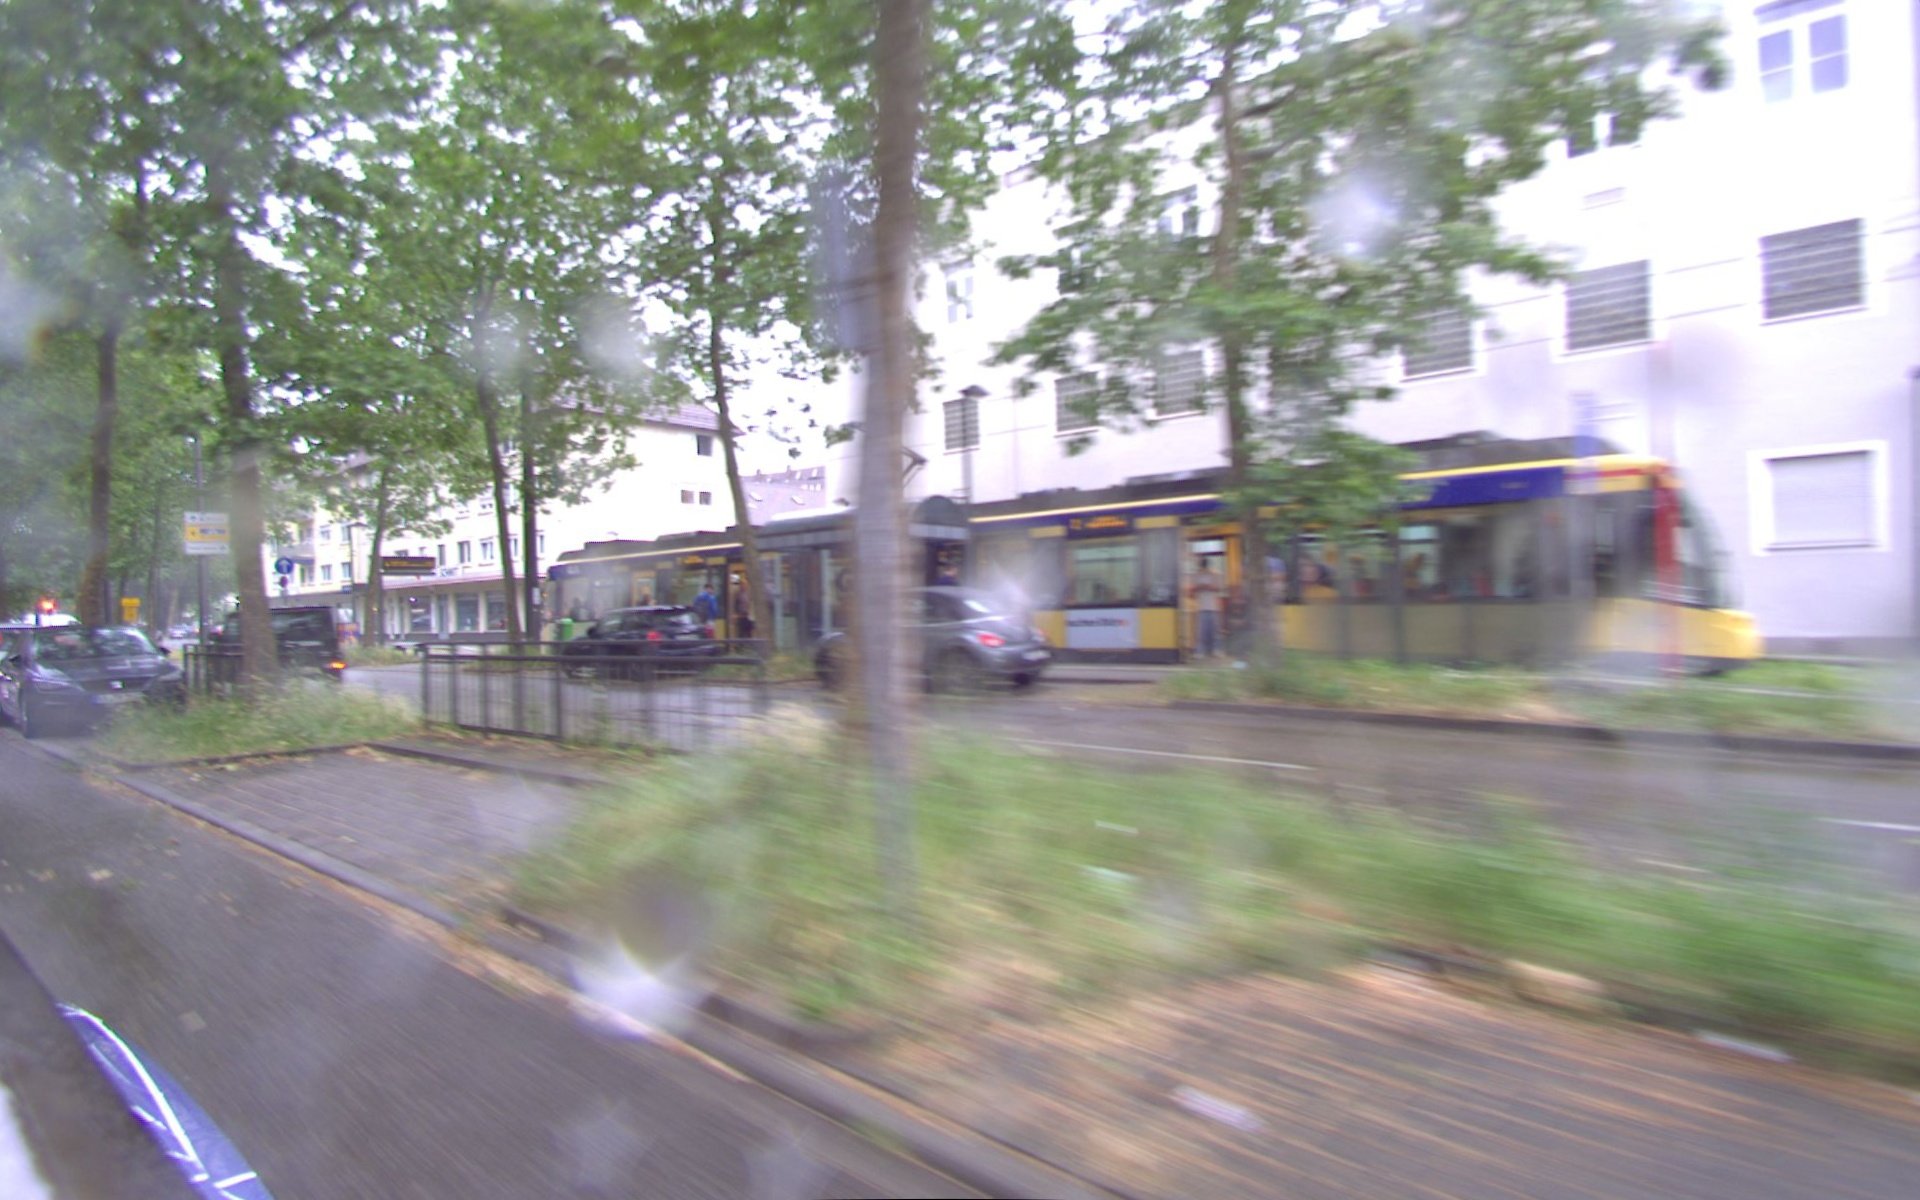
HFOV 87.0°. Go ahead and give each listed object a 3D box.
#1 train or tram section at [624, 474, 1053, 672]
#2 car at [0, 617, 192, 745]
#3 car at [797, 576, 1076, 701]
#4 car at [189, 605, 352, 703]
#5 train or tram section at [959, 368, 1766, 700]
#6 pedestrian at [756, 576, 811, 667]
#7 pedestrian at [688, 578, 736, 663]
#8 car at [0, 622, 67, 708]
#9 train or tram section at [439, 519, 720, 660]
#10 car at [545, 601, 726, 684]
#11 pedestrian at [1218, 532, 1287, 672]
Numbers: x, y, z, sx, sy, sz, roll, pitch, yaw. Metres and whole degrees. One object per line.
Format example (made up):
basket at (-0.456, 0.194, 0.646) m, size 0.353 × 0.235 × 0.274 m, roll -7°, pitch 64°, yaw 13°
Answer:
train or tram section at (-3.402, -0.424, 23.660) m, size 11.545 × 3.669 × 2.870 m, roll -2°, pitch 1°, yaw 41°
car at (-12.403, 1.053, 14.249) m, size 4.003 × 1.493 × 1.710 m, roll -2°, pitch 0°, yaw 41°
car at (-0.436, 0.545, 15.042) m, size 3.971 × 1.520 × 1.656 m, roll -2°, pitch 3°, yaw 40°
car at (-13.368, 1.012, 19.550) m, size 3.646 × 1.675 × 1.655 m, roll -2°, pitch 0°, yaw 40°
train or tram section at (5.322, -0.654, 16.064) m, size 11.545 × 3.669 × 2.870 m, roll -2°, pitch 1°, yaw 41°
pedestrian at (-3.640, 0.439, 20.865) m, size 0.945 × 1.797 × 0.820 m, roll -2°, pitch -1°, yaw -19°
pedestrian at (-5.452, 0.437, 22.270) m, size 0.946 × 1.797 × 0.819 m, roll -2°, pitch -1°, yaw -12°
car at (-19.267, 1.298, 20.308) m, size 3.326 × 1.588 × 1.552 m, roll -2°, pitch 0°, yaw 41°
train or tram section at (-12.128, -0.194, 31.262) m, size 11.545 × 3.669 × 2.870 m, roll -2°, pitch 1°, yaw 41°
car at (-6.536, 0.828, 20.224) m, size 3.702 × 1.395 × 1.656 m, roll -2°, pitch 3°, yaw 40°
pedestrian at (4.014, 0.028, 13.882) m, size 0.635 × 1.869 × 0.654 m, roll -2°, pitch 0°, yaw 41°
